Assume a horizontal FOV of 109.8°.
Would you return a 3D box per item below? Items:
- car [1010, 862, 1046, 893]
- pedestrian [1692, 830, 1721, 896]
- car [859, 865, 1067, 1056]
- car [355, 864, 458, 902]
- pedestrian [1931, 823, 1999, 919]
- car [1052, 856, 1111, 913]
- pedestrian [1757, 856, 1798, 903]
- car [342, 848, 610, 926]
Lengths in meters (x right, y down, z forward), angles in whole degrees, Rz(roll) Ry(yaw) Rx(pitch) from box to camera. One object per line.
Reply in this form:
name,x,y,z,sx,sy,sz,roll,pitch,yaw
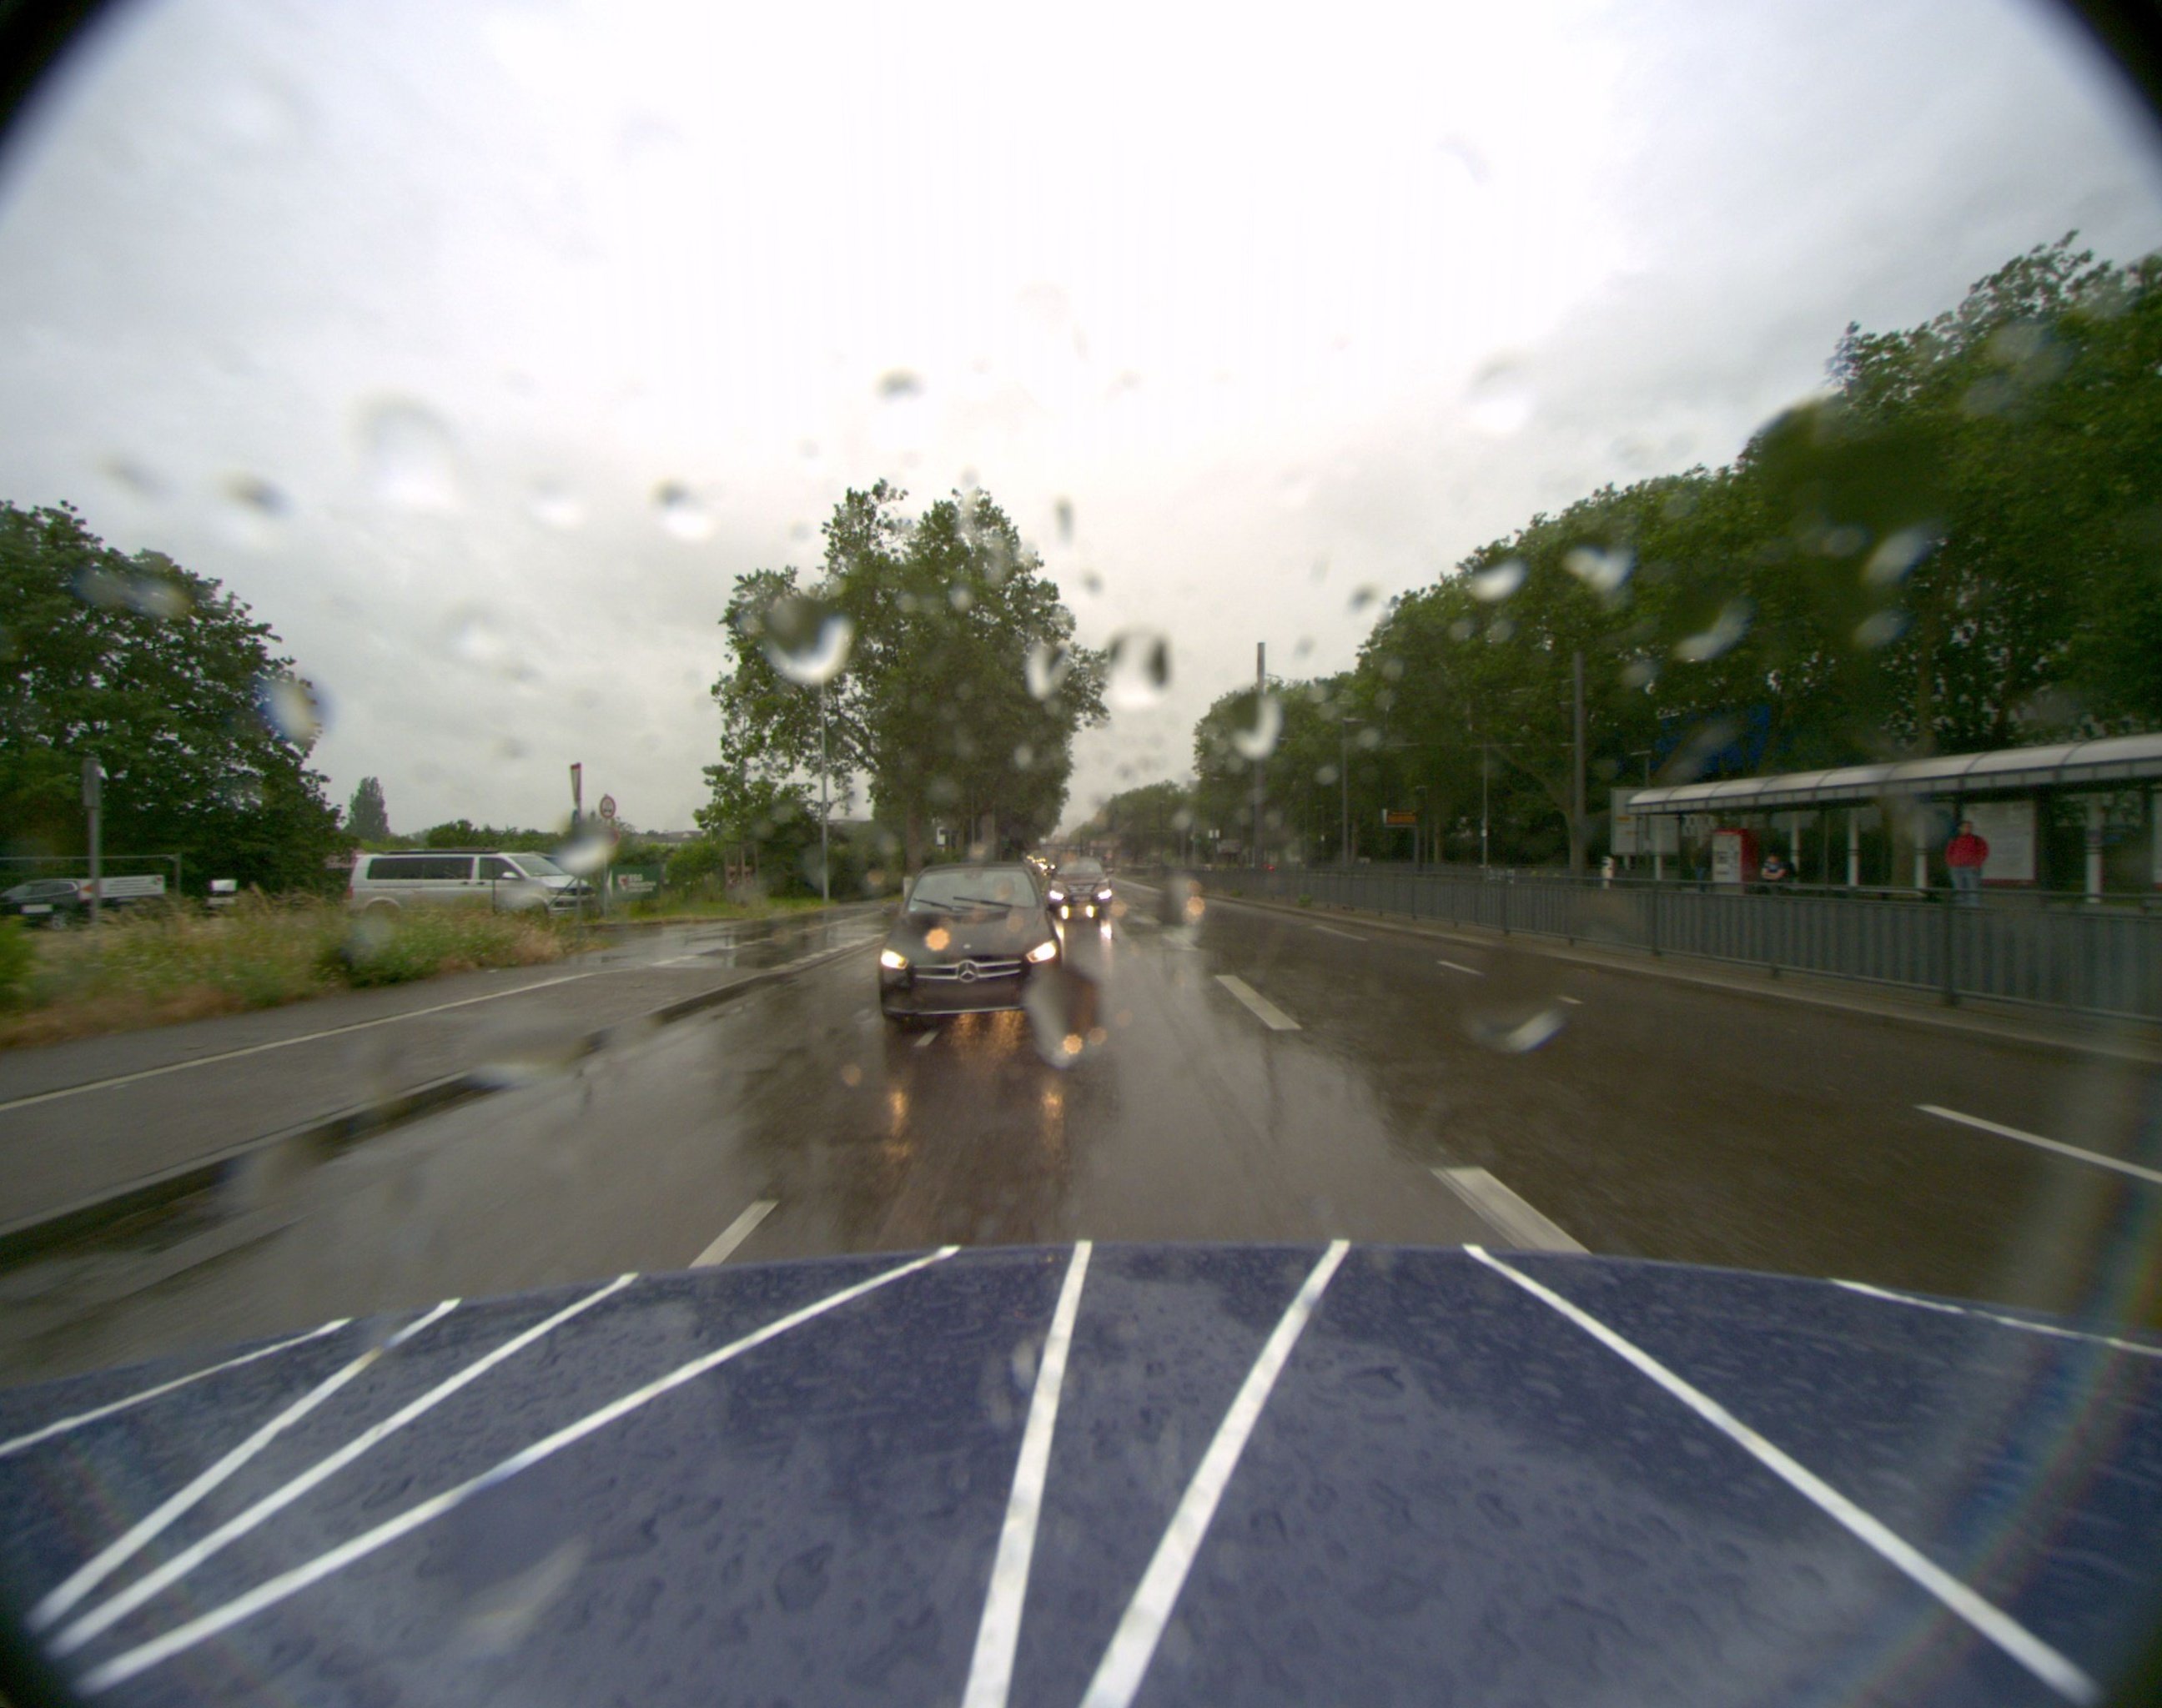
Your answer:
car,-2.952,1.289,42.836,1.707,1.499,3.879,-2,1,0
pedestrian,18.023,0.256,21.902,0.481,1.872,0.462,-2,2,-12
car,-1.243,0.953,8.747,1.759,1.572,4.167,-2,0,-6
car,-31.587,1.336,35.631,3.553,1.575,1.345,-2,1,2
pedestrian,18.025,0.328,15.508,0.621,1.901,0.671,-2,2,-12
car,-0.049,0.873,23.892,1.690,1.611,3.999,0,0,-2
pedestrian,18.055,0.649,19.702,0.521,1.193,0.580,-2,2,-12
car,-15.623,0.812,19.893,5.176,1.715,2.005,-2,1,-5
